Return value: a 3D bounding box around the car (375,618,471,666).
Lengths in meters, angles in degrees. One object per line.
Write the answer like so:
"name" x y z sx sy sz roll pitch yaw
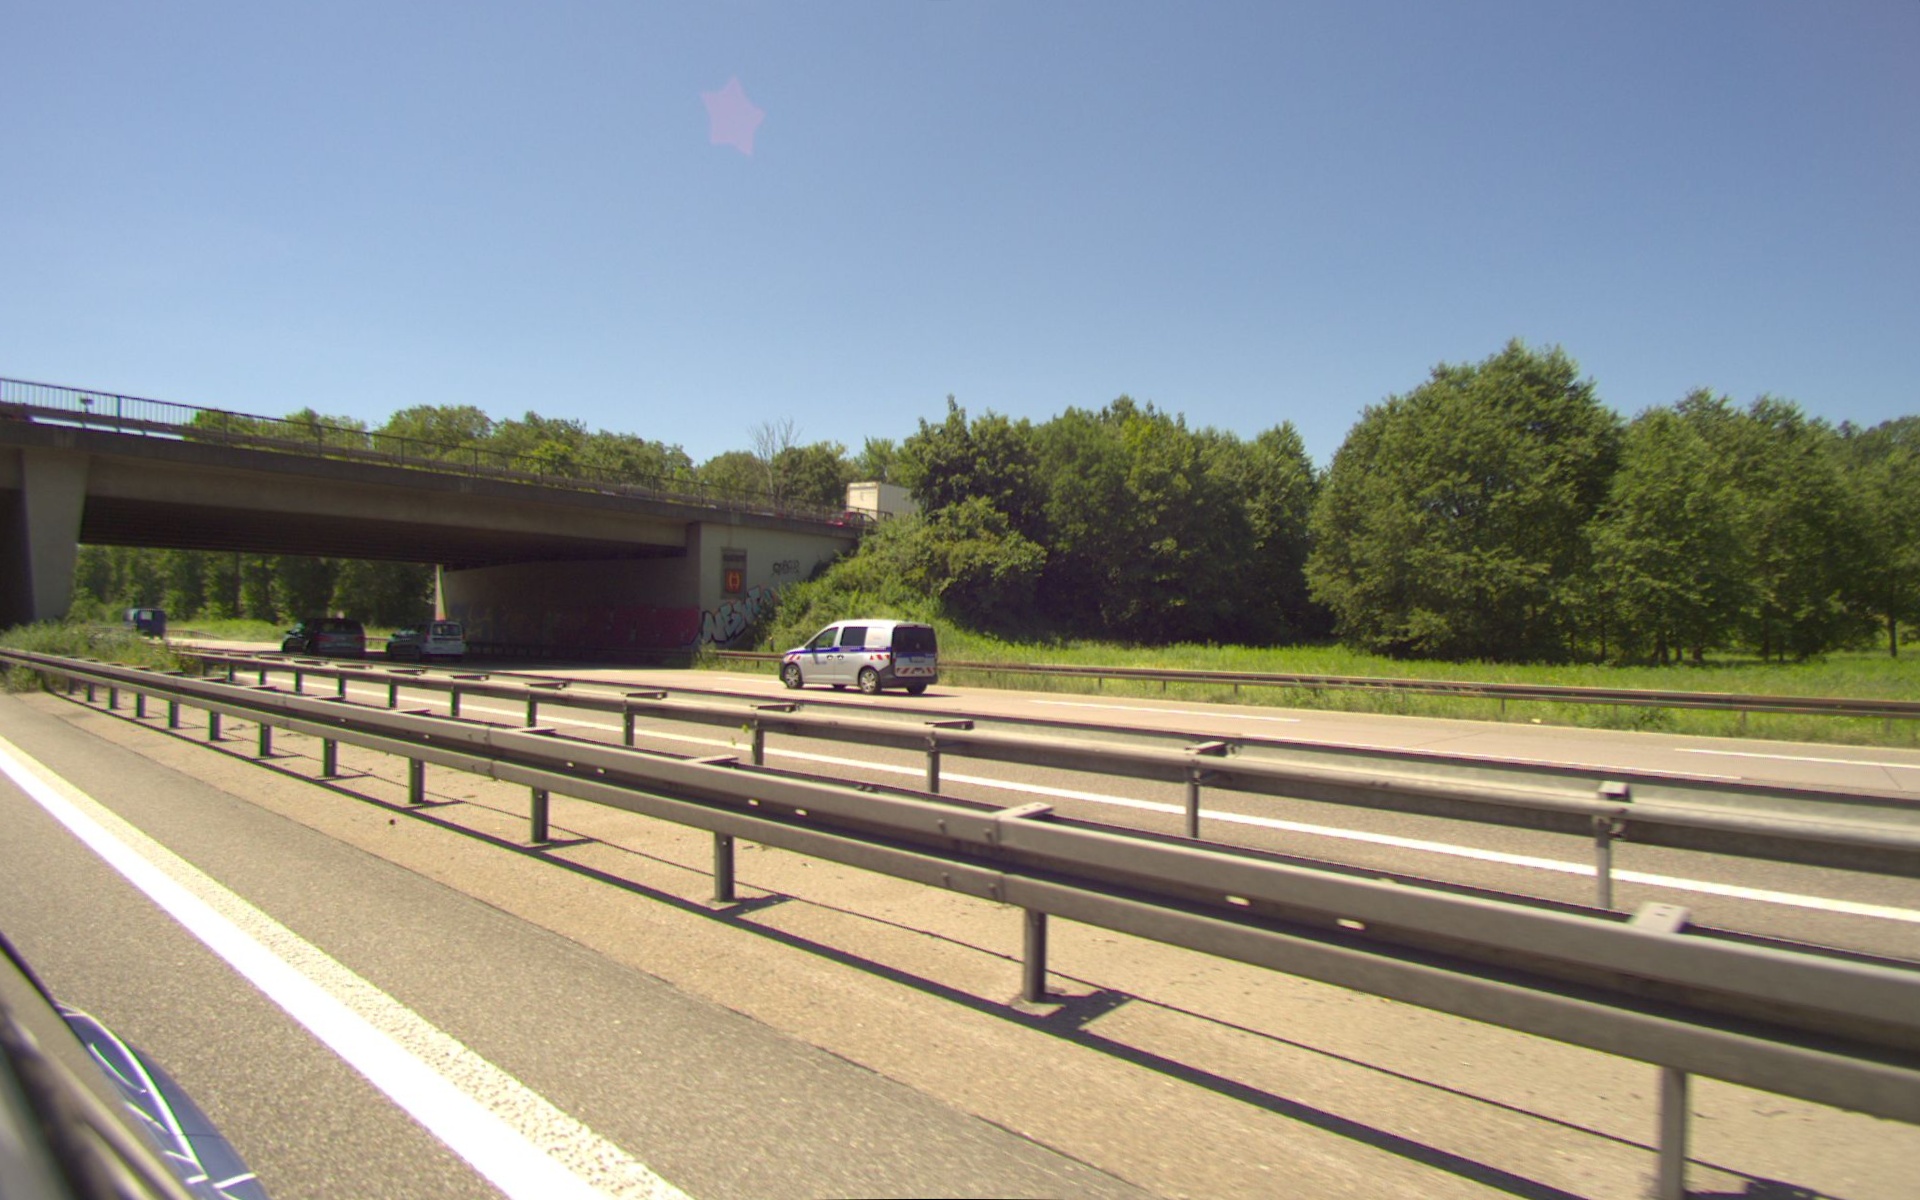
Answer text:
"car" -21.714 1.670 40.827 4.933 1.819 1.722 -1 -3 41

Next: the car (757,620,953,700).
"car" -2.685 1.406 25.039 5.082 1.776 1.723 -1 -3 39

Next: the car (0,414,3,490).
"car" -28.121 -4.036 26.703 1.997 2.029 3.949 -1 0 38

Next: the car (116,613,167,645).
"car" -64.584 2.232 79.801 5.730 2.417 2.068 -1 0 40

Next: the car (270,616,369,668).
"car" -22.998 1.472 36.273 4.637 1.732 1.722 -1 -3 41
